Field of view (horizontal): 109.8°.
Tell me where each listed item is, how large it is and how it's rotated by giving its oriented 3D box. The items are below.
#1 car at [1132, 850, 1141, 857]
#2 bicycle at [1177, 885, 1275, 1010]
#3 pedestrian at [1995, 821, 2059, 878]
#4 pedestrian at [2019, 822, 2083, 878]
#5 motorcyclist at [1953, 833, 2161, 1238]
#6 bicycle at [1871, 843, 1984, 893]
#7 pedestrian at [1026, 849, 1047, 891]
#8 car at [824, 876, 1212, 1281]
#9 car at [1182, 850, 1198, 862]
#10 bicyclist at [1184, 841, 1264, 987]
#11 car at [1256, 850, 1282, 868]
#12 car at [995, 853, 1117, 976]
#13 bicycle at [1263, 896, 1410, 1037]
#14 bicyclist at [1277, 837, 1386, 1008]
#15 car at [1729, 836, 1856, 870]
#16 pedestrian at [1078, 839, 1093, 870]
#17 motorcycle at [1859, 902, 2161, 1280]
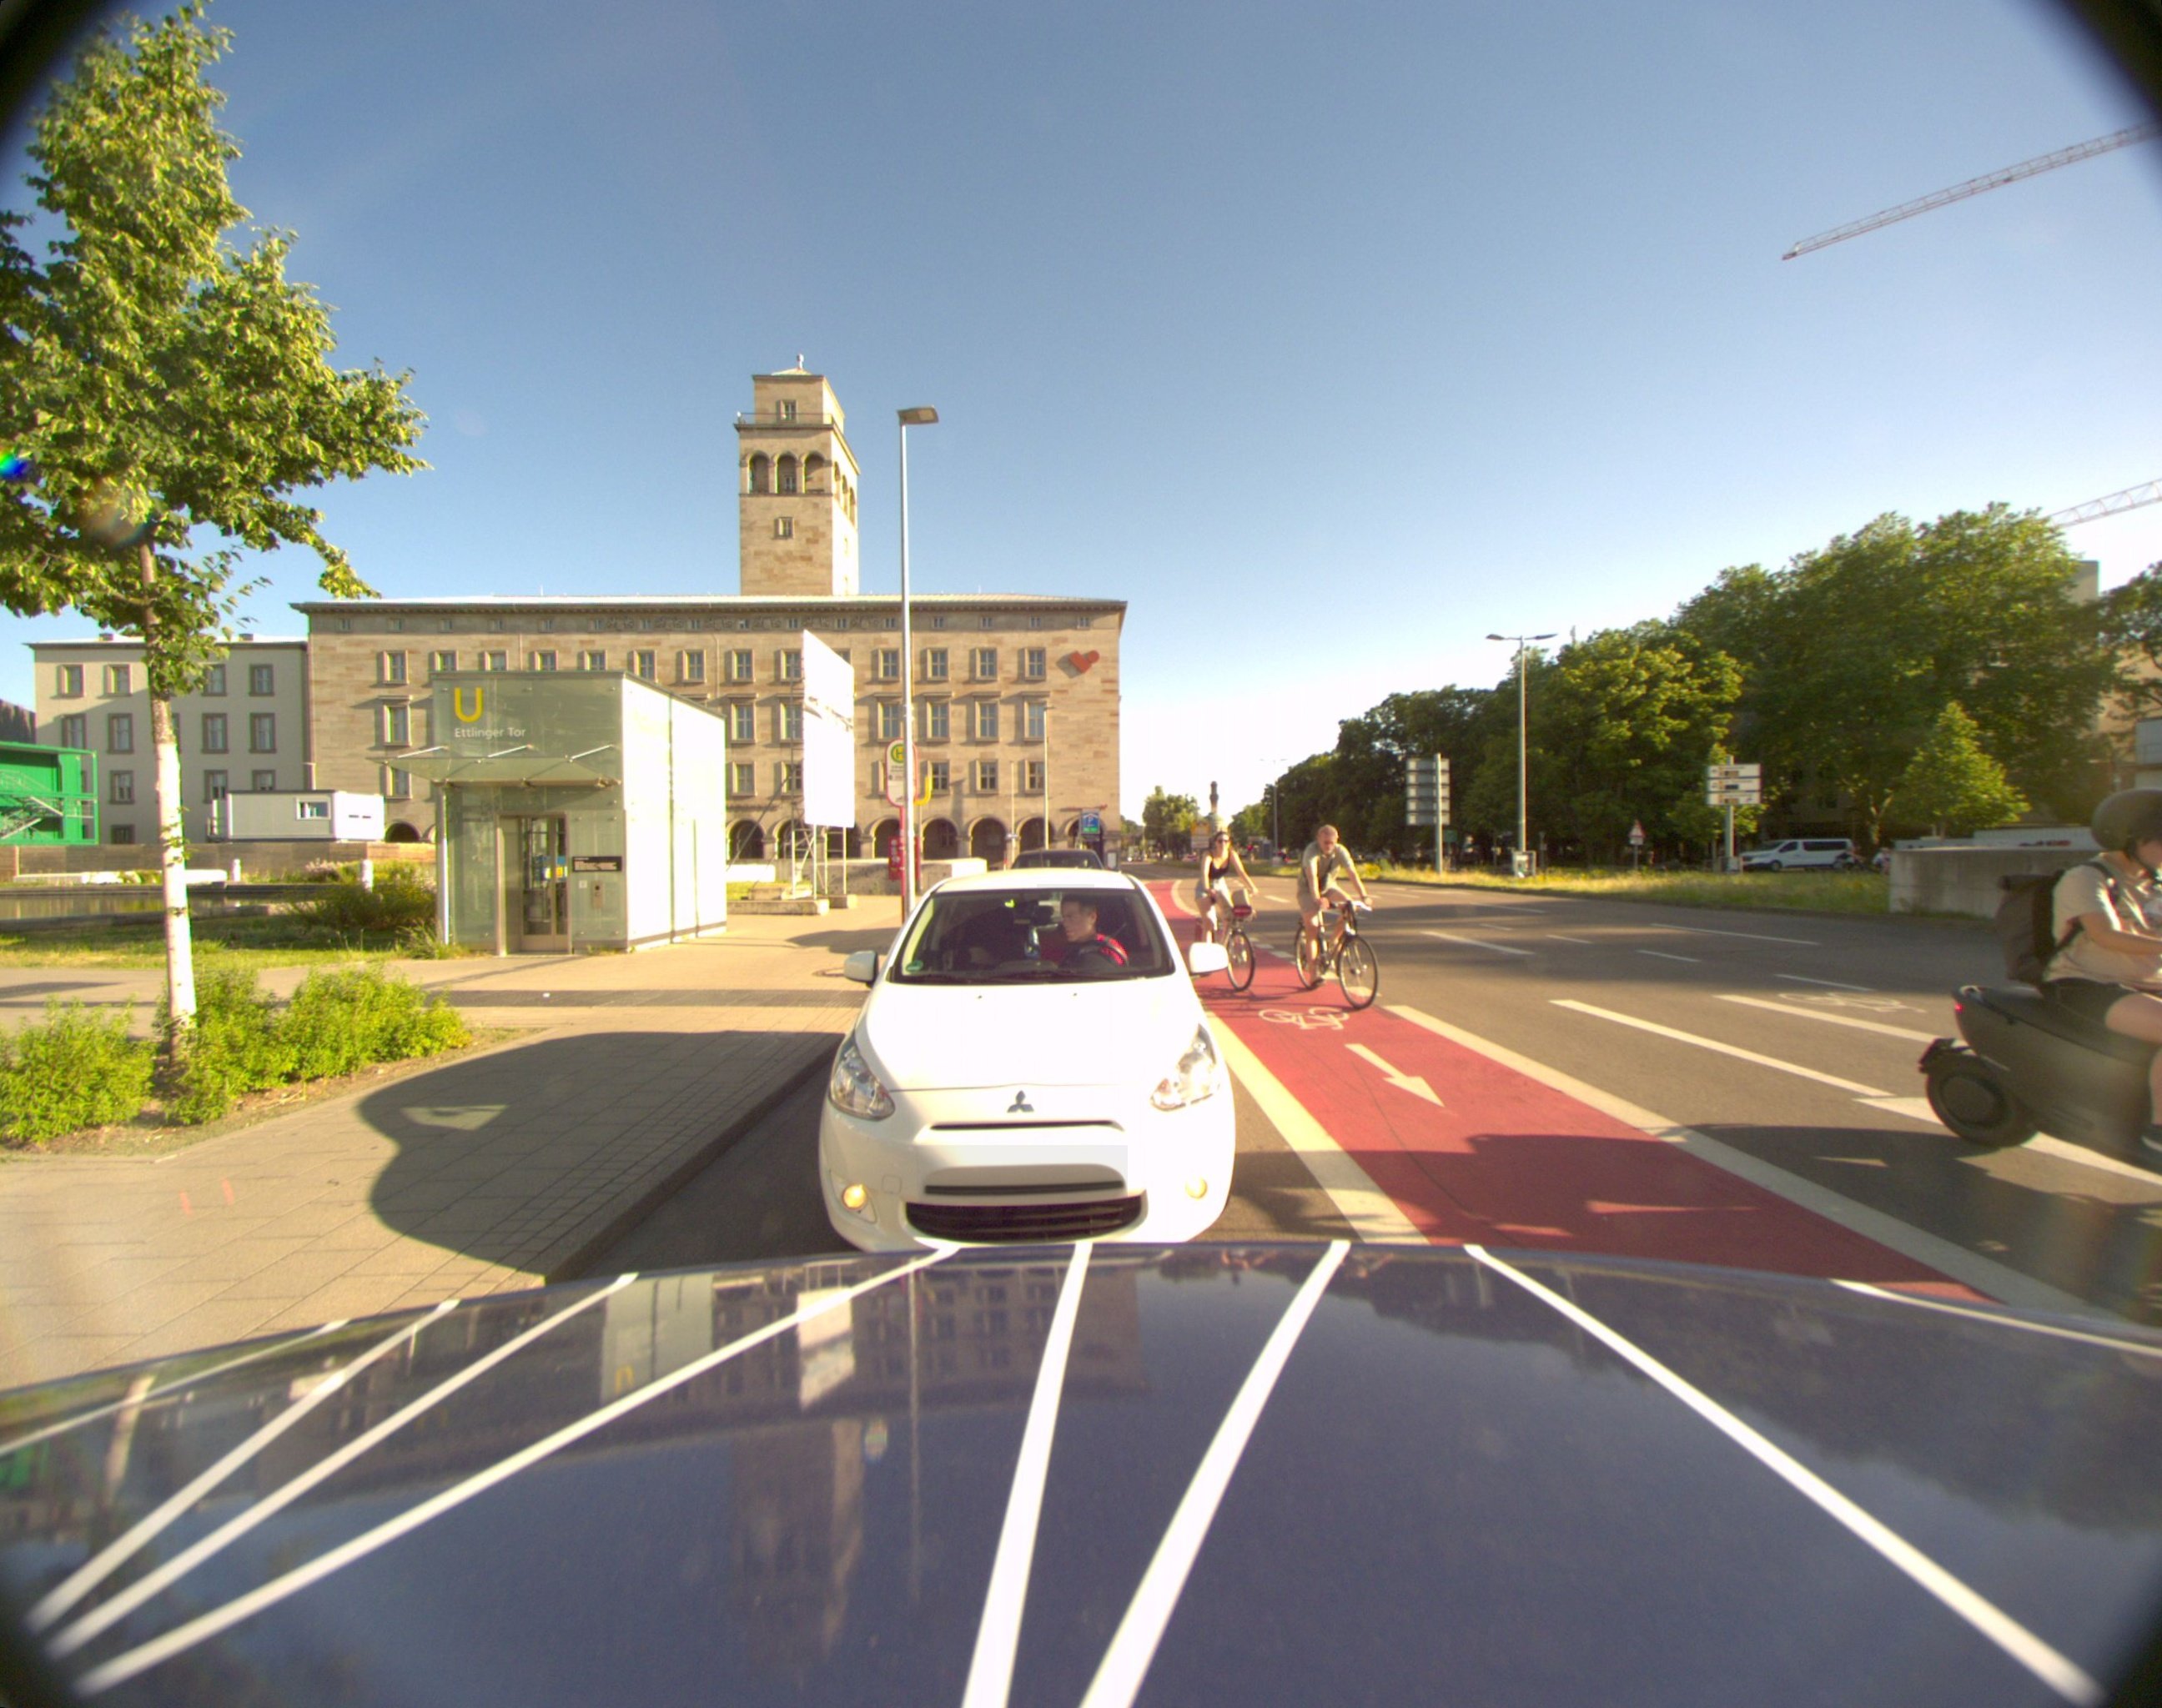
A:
[{"bbox_3d":[12.594,-0.133,173.035,1.849,1.677,4.000,-2,1,2],"label":"car"},{"bbox_3d":[1.629,1.015,8.847,0.617,1.211,1.831,-2,0,-4],"label":"bicycle"},{"bbox_3d":[34.984,-0.168,28.115,0.940,2.002,1.137,-2,1,-5],"label":"pedestrian"},{"bbox_3d":[35.995,-0.162,28.216,0.940,2.002,1.137,-2,1,-5],"label":"pedestrian"},{"bbox_3d":[4.280,0.655,2.939,0.727,1.466,0.917,-2,0,1],"label":"motorcyclist"},{"bbox_3d":[32.565,0.521,29.320,0.841,1.800,3.082,-2,-1,-1],"label":"bicycle"},{"bbox_3d":[-2.720,0.995,46.855,1.122,2.524,1.055,-2,1,1],"label":"pedestrian"},{"bbox_3d":[-0.229,0.955,4.839,1.496,1.477,3.604,-2,0,1],"label":"car"},{"bbox_3d":[16.435,0.229,114.824,1.849,1.677,3.999,-2,1,1],"label":"car"},{"bbox_3d":[1.625,0.657,8.731,0.643,1.570,0.875,-2,1,-5],"label":"bicyclist"},{"bbox_3d":[20.886,0.546,84.539,1.819,1.817,3.999,-2,1,1],"label":"car"},{"bbox_3d":[-0.369,0.841,12.519,1.642,1.653,3.849,-2,0,-1],"label":"car"},{"bbox_3d":[2.487,1.045,7.665,0.649,1.103,1.970,-2,0,-4],"label":"bicycle"},{"bbox_3d":[2.481,0.645,7.614,0.718,1.596,0.841,-2,1,-5],"label":"bicyclist"},{"bbox_3d":[42.137,-0.051,45.111,5.516,1.924,2.065,-1,1,2],"label":"car"},{"bbox_3d":[0.403,0.018,64.055,1.122,2.524,1.055,-2,1,1],"label":"pedestrian"},{"bbox_3d":[4.288,0.899,2.886,0.724,1.286,1.884,-2,0,1],"label":"motorcycle"}]
